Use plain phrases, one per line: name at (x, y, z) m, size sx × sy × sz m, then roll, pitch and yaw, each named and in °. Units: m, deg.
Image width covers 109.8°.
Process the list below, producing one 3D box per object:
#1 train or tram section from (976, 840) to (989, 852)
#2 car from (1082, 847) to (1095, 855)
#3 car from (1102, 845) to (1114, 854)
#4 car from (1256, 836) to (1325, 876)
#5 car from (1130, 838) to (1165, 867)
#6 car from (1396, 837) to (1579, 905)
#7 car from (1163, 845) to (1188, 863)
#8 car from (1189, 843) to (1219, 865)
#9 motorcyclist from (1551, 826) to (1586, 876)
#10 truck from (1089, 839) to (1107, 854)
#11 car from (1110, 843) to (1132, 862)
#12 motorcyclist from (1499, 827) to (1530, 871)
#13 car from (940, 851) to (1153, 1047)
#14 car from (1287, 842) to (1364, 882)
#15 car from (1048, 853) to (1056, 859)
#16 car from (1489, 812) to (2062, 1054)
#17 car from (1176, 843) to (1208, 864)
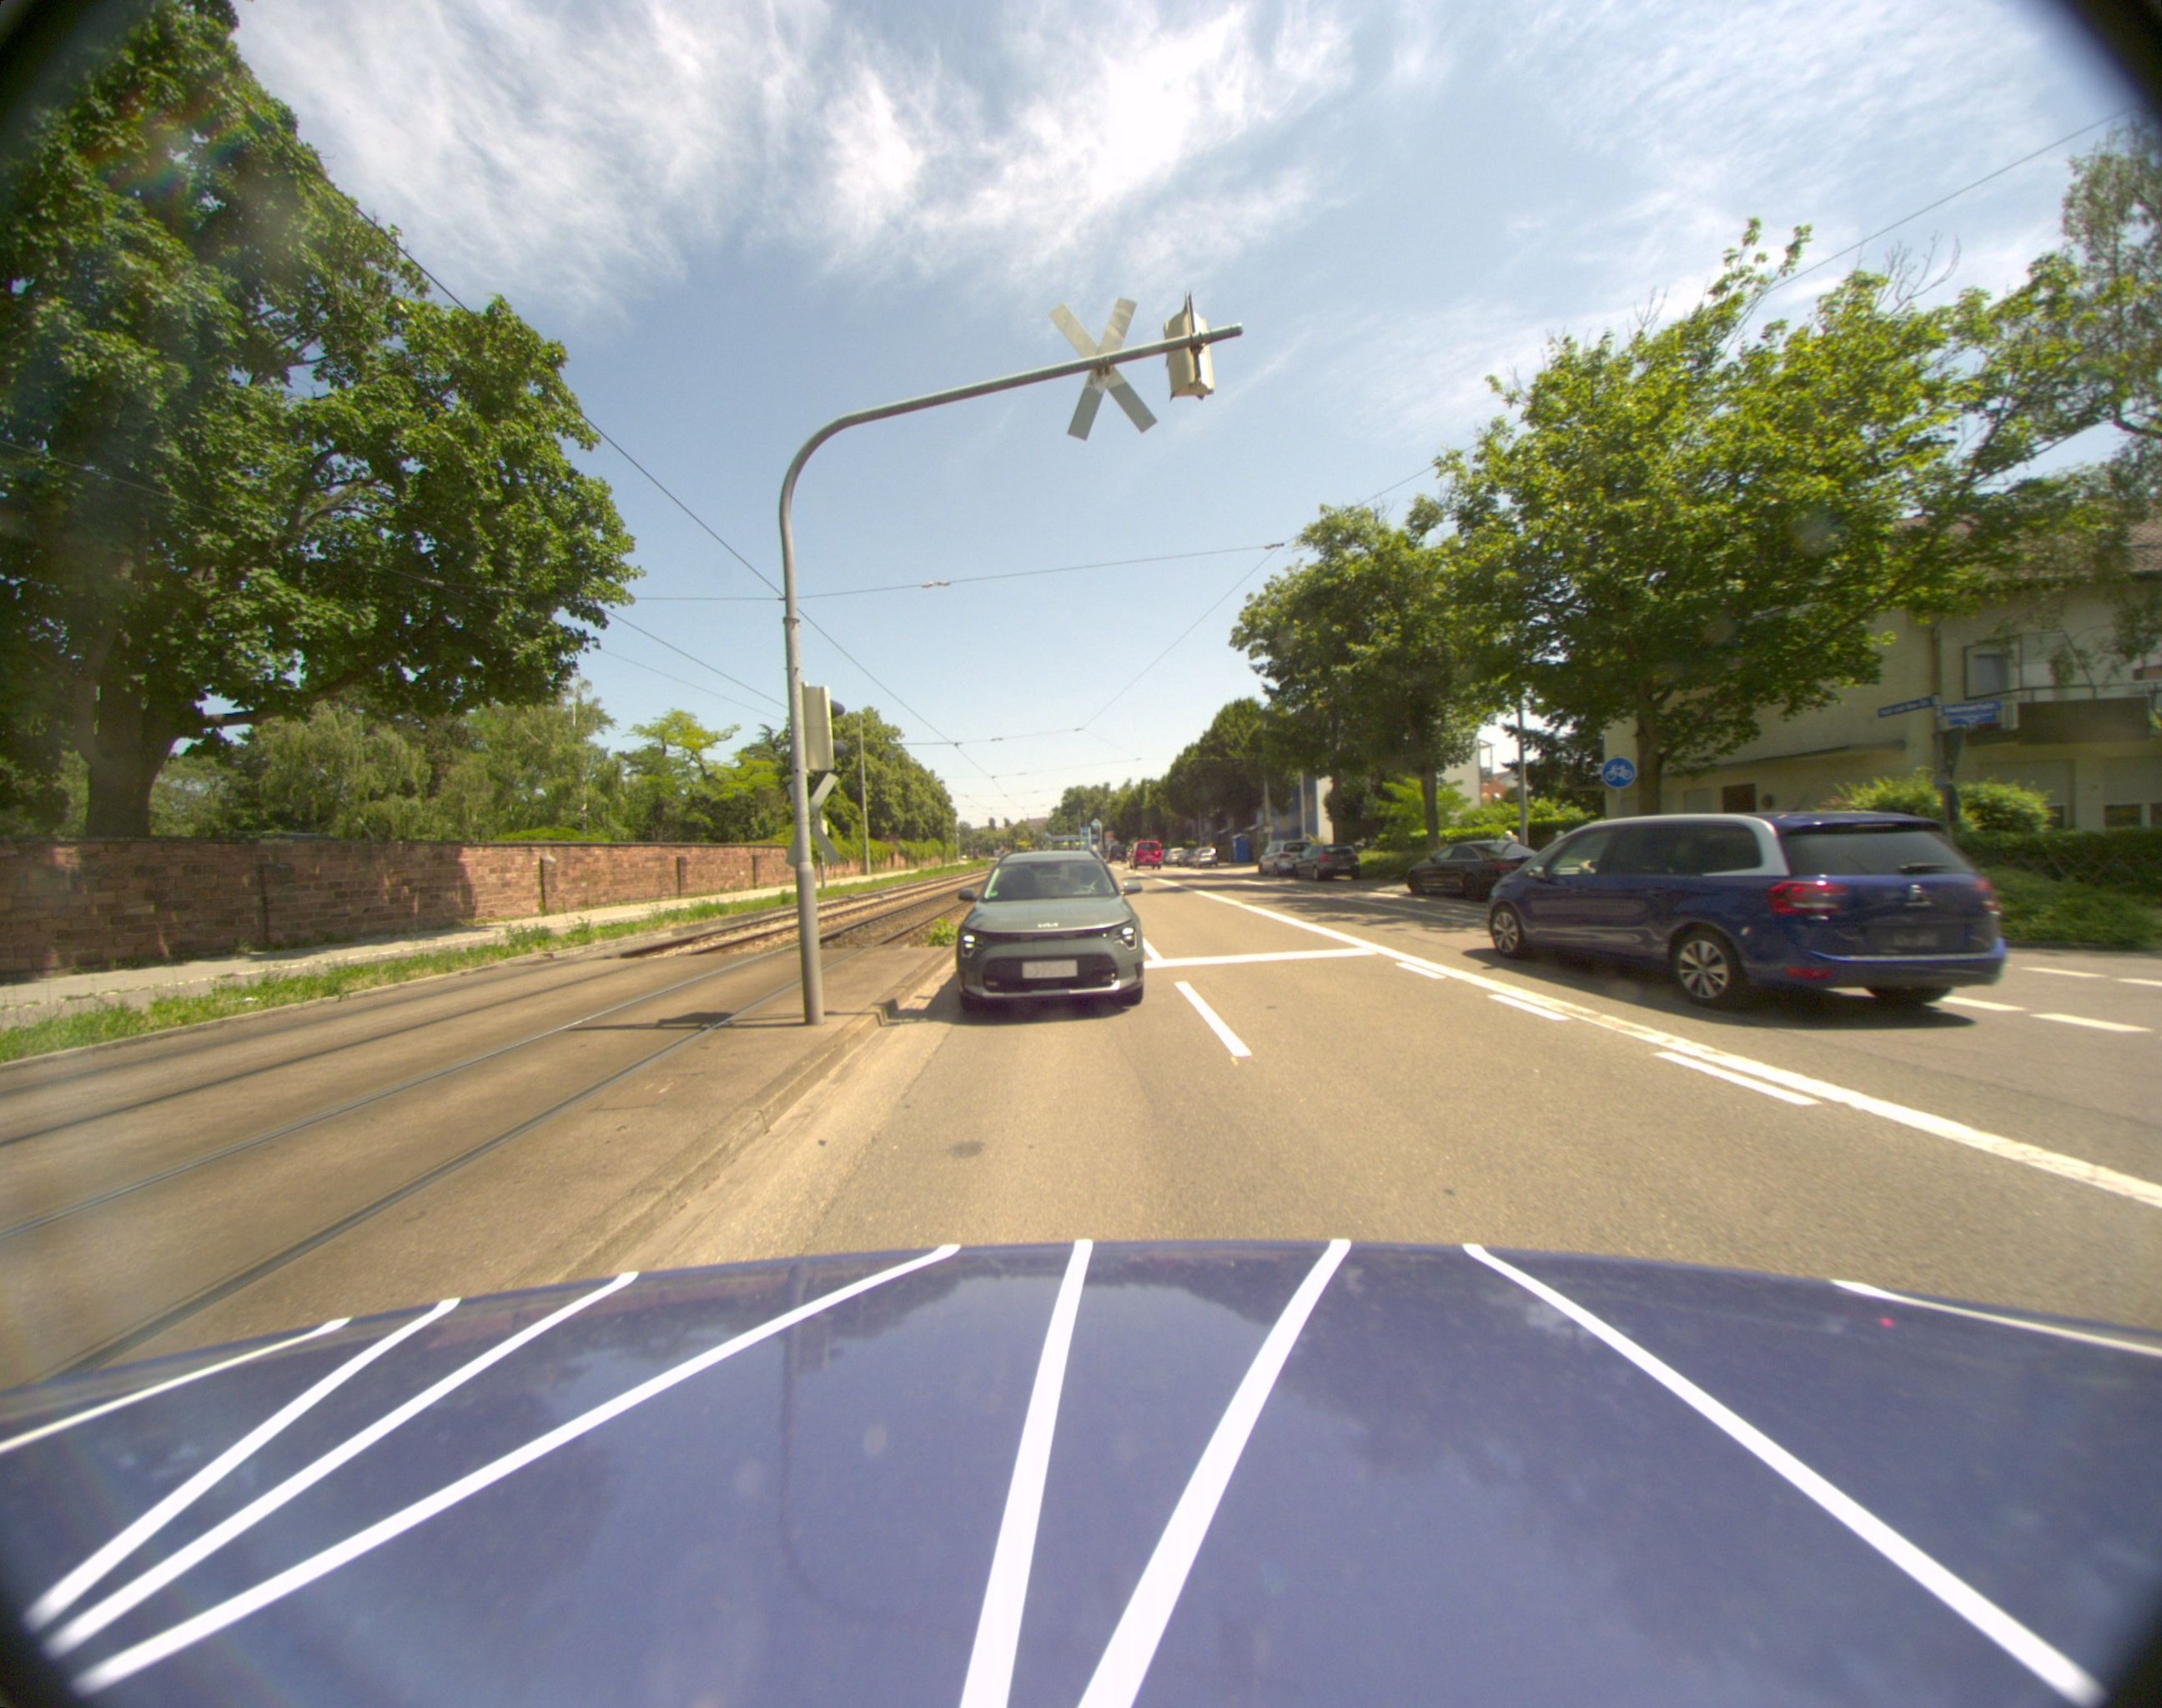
train or tram section at (-33.399, -2.762, 257.985) m, size 2.814 × 3.785 × 14.256 m, roll -3°, pitch 1°, yaw -1°
car at (1.517, -0.555, 150.229) m, size 1.866 × 1.487 × 3.467 m, roll -6°, pitch 1°, yaw -10°
car at (4.672, -0.773, 132.466) m, size 1.865 × 1.487 × 3.469 m, roll -2°, pitch 1°, yaw -3°
car at (10.050, 0.059, 36.795) m, size 1.976 × 1.679 × 4.687 m, roll -3°, pitch 1°, yaw 0°
car at (4.666, -0.131, 53.984) m, size 1.904 × 1.915 × 4.818 m, roll 0°, pitch 1°, yaw -3°
car at (10.283, 0.374, 19.732) m, size 1.899 × 1.448 × 4.808 m, roll -3°, pitch 1°, yaw -4°
car at (9.102, -0.016, 73.659) m, size 1.656 × 1.487 × 3.648 m, roll -6°, pitch 1°, yaw -3°
car at (9.515, 0.013, 58.781) m, size 1.505 × 1.487 × 3.281 m, roll -6°, pitch 1°, yaw -3°
motorcyclist at (15.273, -0.107, 23.824) m, size 0.588 × 1.494 × 0.662 m, roll -5°, pitch 1°, yaw 0°
truck at (3.028, -1.344, 138.523) m, size 2.135 × 2.565 × 4.859 m, roll -6°, pitch 1°, yaw -10°
car at (4.193, -0.154, 80.476) m, size 1.923 × 1.899 × 4.570 m, roll -1°, pitch 1°, yaw -1°
motorcyclist at (15.179, -0.169, 26.616) m, size 0.588 × 1.494 × 0.725 m, roll -5°, pitch 1°, yaw 0°
car at (-0.392, 0.815, 8.810) m, size 1.759 × 1.574 × 4.425 m, roll -3°, pitch 1°, yaw -3°
car at (10.045, 0.291, 31.552) m, size 1.680 × 1.478 × 4.127 m, roll -3°, pitch 1°, yaw -2°
car at (-7.670, 0.535, 198.527) m, size 1.865 × 1.487 × 3.469 m, roll -6°, pitch 1°, yaw -3°
car at (5.926, 0.522, 7.312) m, size 1.742 × 1.647 × 4.065 m, roll -1°, pitch 1°, yaw -1°
car at (9.335, -0.061, 63.990) m, size 1.680 × 1.487 × 4.637 m, roll -6°, pitch 1°, yaw -3°
